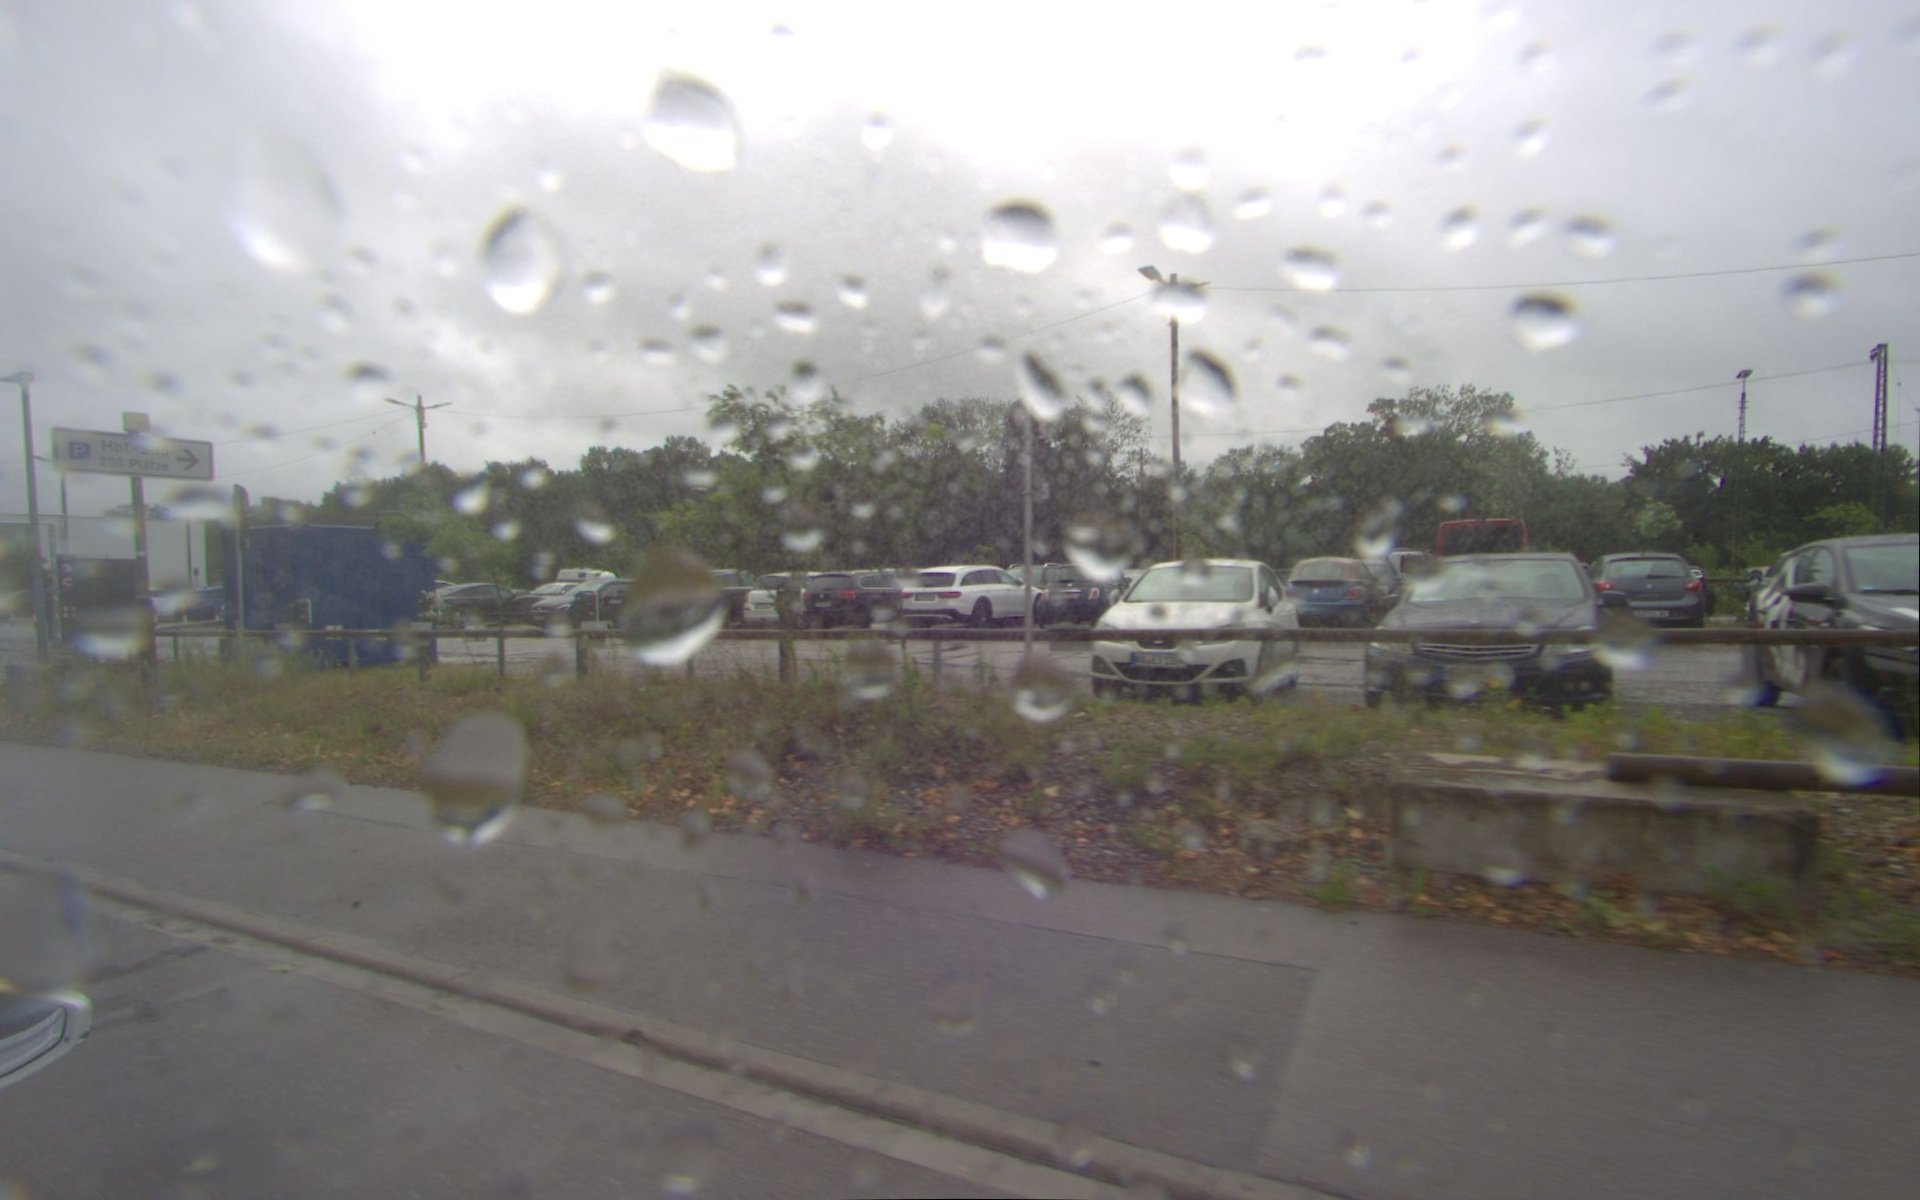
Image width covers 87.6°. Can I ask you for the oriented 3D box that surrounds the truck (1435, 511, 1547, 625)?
[{"bbox_3d":[12.634,-0.751,23.900,2.120,2.400,5.281,0,2,28],"label":"truck"}]

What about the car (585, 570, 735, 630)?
[{"bbox_3d":[-8.658,-0.030,29.185,1.843,1.510,3.943,-1,2,30],"label":"car"}]

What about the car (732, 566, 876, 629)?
[{"bbox_3d":[-4.175,-0.110,27.384,1.752,1.510,3.943,-1,2,30],"label":"car"}]

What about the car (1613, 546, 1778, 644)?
[{"bbox_3d":[12.406,-0.144,17.124,1.859,1.447,3.943,-1,2,30],"label":"car"}]

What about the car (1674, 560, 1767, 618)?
[{"bbox_3d":[22.934,-0.336,30.349,1.666,1.607,4.157,-1,1,29],"label":"car"}]

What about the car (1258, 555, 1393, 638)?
[{"bbox_3d":[7.466,-0.119,20.220,1.859,1.447,3.943,-1,2,30],"label":"car"}]

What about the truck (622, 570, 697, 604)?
[{"bbox_3d":[-20.063,-0.857,66.880,5.012,2.168,2.066,0,3,34],"label":"truck"}]

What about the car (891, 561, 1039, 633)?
[{"bbox_3d":[0.216,-0.120,23.866,1.752,1.510,3.943,-1,2,30],"label":"car"}]

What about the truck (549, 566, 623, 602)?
[{"bbox_3d":[-26.237,-1.116,70.275,5.005,2.435,2.069,0,2,29],"label":"truck"}]

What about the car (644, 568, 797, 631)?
[{"bbox_3d":[-6.493,-0.056,27.581,1.843,1.510,3.943,-1,2,30],"label":"car"}]

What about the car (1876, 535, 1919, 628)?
[{"bbox_3d":[20.356,-0.401,20.436,1.771,1.824,3.977,0,1,32],"label":"car"}]

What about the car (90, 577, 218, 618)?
[{"bbox_3d":[-34.878,-0.123,43.422,1.900,1.504,3.819,-1,3,31],"label":"car"}]

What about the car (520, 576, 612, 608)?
[{"bbox_3d":[-21.114,-0.437,53.827,1.989,1.611,4.312,0,2,28],"label":"car"}]

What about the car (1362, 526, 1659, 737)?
[{"bbox_3d":[4.779,0.228,9.013,1.875,1.441,3.894,-1,0,26],"label":"car"}]

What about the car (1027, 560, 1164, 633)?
[{"bbox_3d":[3.265,-0.122,23.503,1.752,1.510,3.943,-1,2,30],"label":"car"}]

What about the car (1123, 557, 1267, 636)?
[{"bbox_3d":[5.036,-0.121,21.076,1.859,1.447,3.943,-1,2,30],"label":"car"}]

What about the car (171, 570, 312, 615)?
[{"bbox_3d":[-28.257,-0.333,39.514,1.900,1.504,4.034,-1,3,31],"label":"car"}]

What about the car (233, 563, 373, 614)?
[{"bbox_3d":[-23.746,-0.452,36.298,1.761,1.606,3.765,-1,3,31],"label":"car"}]

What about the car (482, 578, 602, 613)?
[{"bbox_3d":[-16.080,-0.210,38.731,1.803,1.086,4.055,-2,3,27],"label":"car"}]

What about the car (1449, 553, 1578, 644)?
[{"bbox_3d":[10.126,-0.086,18.277,1.859,1.447,3.943,-1,2,30],"label":"car"}]

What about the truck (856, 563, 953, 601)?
[{"bbox_3d":[-3.136,-1.010,56.323,5.200,2.041,2.077,0,3,30],"label":"truck"}]

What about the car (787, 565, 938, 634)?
[{"bbox_3d":[-2.342,-0.055,25.119,1.752,1.510,3.943,-1,2,30],"label":"car"}]

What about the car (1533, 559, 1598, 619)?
[{"bbox_3d":[19.535,-0.348,32.412,1.666,1.789,3.961,0,1,29],"label":"car"}]

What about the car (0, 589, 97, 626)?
[{"bbox_3d":[-44.786,0.360,48.101,1.985,1.739,4.621,-1,0,23],"label":"car"}]

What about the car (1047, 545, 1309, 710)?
[{"bbox_3d":[2.485,0.242,10.664,1.875,1.411,3.769,-1,0,26],"label":"car"}]

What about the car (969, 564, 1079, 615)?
[{"bbox_3d":[1.948,-0.335,29.255,1.651,1.338,3.979,0,3,29],"label":"car"}]

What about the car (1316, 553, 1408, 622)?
[{"bbox_3d":[10.193,-0.356,25.251,1.742,1.595,3.981,0,2,28],"label":"car"}]

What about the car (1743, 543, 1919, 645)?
[{"bbox_3d":[14.323,-0.153,16.336,1.859,1.447,3.944,-1,2,30],"label":"car"}]

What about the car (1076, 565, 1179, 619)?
[{"bbox_3d":[4.741,-0.269,27.967,1.650,1.338,3.981,0,3,28],"label":"car"}]

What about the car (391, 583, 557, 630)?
[{"bbox_3d":[-15.688,0.169,32.583,1.948,1.238,4.581,-1,2,27],"label":"car"}]

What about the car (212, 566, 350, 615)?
[{"bbox_3d":[-25.762,-0.397,38.104,1.761,1.606,3.893,-1,3,31],"label":"car"}]

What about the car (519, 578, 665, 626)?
[{"bbox_3d":[-10.978,0.038,30.131,1.625,1.238,3.876,-1,2,33],"label":"car"}]

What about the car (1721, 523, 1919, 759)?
[{"bbox_3d":[7.311,0.225,7.550,1.751,1.441,3.894,-1,0,26],"label":"car"}]

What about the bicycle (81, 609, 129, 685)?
[{"bbox_3d":[-13.507,0.713,15.834,0.503,1.099,1.688,-3,2,-40],"label":"bicycle"}]
